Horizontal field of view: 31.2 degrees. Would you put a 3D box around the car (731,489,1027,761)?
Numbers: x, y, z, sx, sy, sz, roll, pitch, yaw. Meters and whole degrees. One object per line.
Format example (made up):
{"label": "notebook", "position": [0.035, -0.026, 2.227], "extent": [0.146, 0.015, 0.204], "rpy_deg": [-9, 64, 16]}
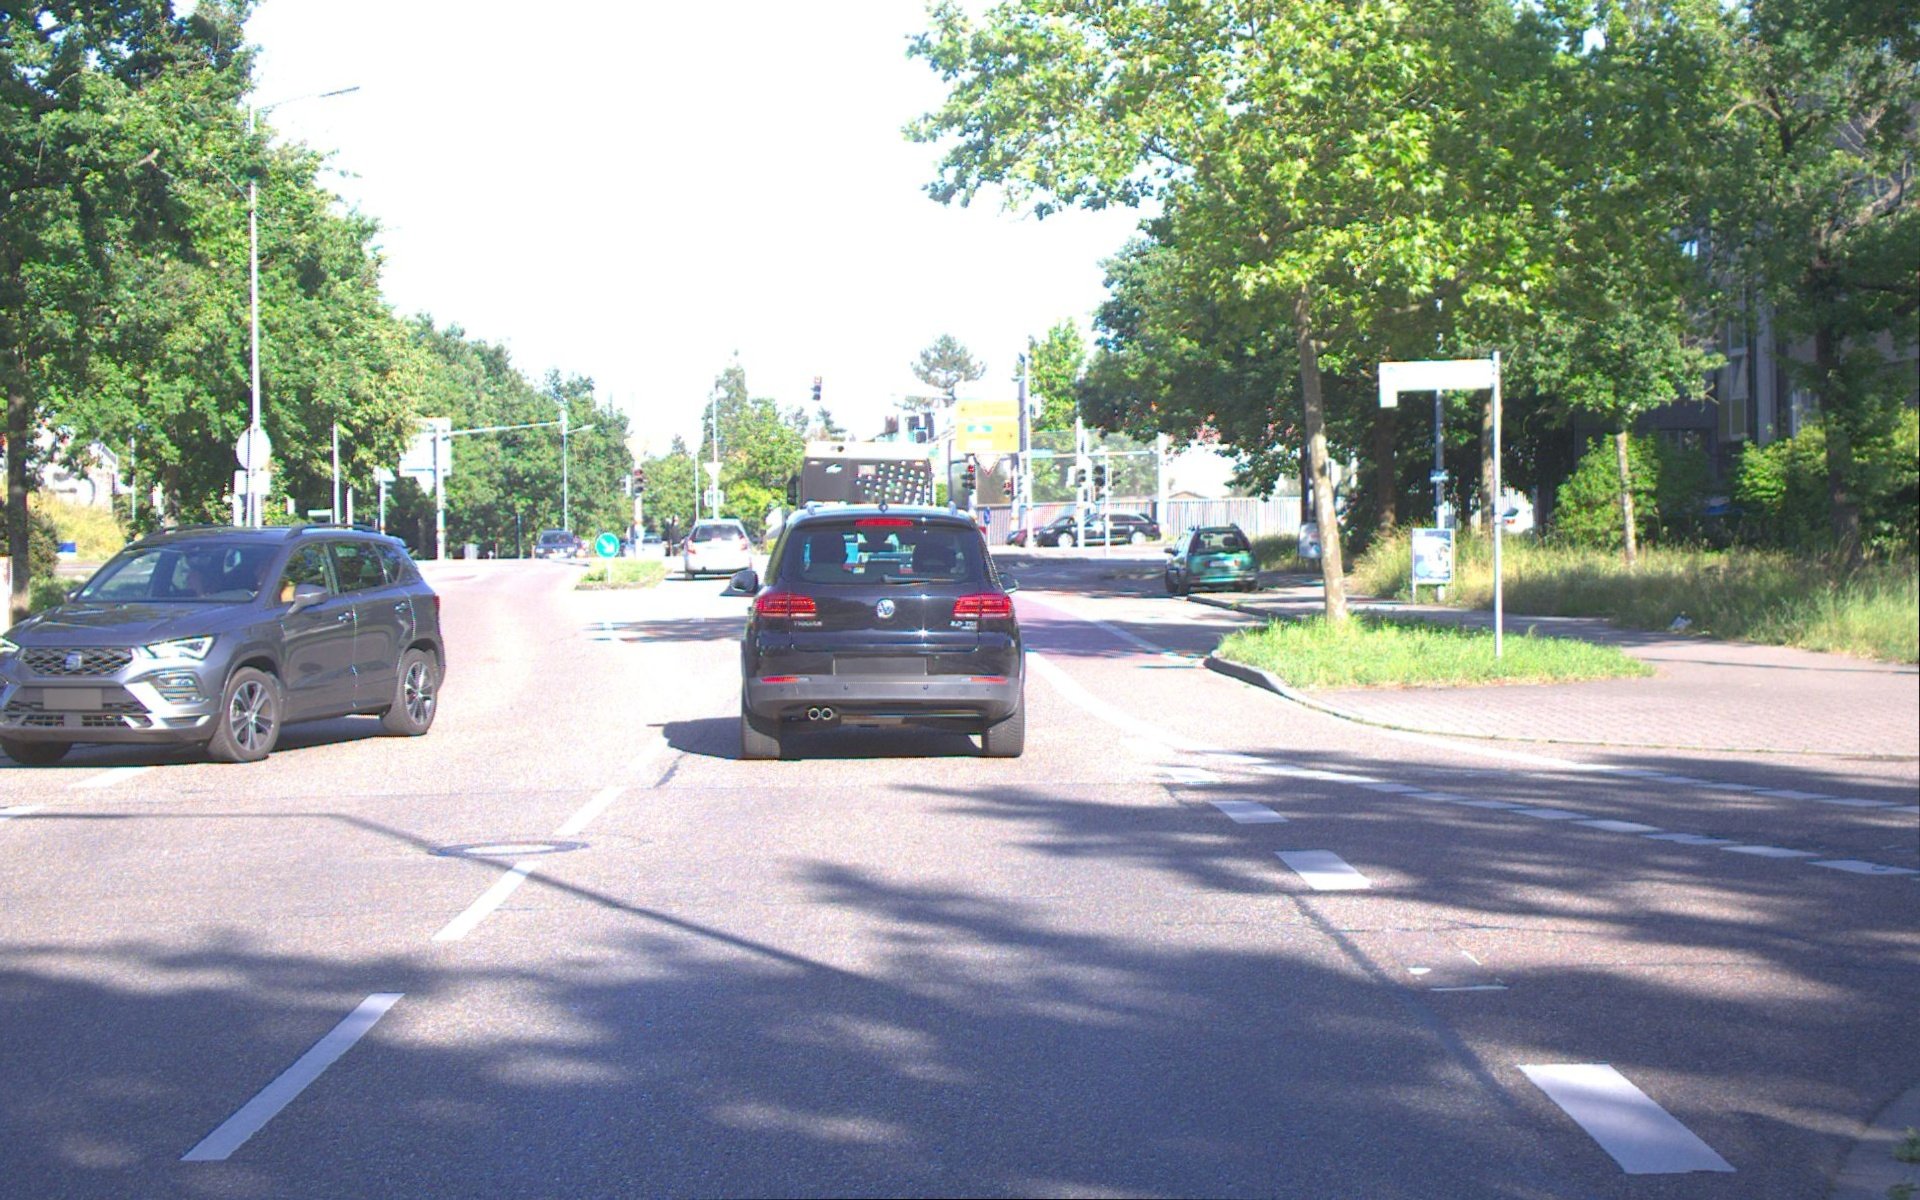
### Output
{"label": "car", "position": [-0.521, 0.137, 23.344], "extent": [1.821, 1.668, 4.003], "rpy_deg": [-1, 0, 0]}

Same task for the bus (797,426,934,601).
{"label": "bus", "position": [-2.098, -1.815, 71.936], "extent": [2.596, 3.323, 11.985], "rpy_deg": [1, 1, -3]}

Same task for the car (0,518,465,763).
{"label": "car", "position": [-5.187, 0.242, 24.542], "extent": [1.755, 1.590, 4.296], "rpy_deg": [0, 1, 14]}

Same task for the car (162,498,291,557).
{"label": "car", "position": [-24.156, -2.380, 113.320], "extent": [3.986, 1.873, 2.000], "rpy_deg": [1, 0, -7]}

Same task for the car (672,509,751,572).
{"label": "car", "position": [-6.592, -1.550, 90.945], "extent": [1.753, 1.615, 4.034], "rpy_deg": [-1, 1, -8]}

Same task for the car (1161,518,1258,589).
{"label": "car", "position": [5.257, -0.990, 72.794], "extent": [1.592, 1.424, 4.204], "rpy_deg": [-2, 1, -2]}

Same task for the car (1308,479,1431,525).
{"label": "car", "position": [15.662, -3.730, 131.526], "extent": [4.382, 1.677, 1.712], "rpy_deg": [1, 0, -7]}

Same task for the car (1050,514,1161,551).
{"label": "car", "position": [5.517, -2.535, 130.252], "extent": [3.891, 1.335, 1.683], "rpy_deg": [1, 0, -11]}

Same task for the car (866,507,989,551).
{"label": "car", "position": [-0.963, -2.144, 103.443], "extent": [3.523, 1.297, 1.574], "rpy_deg": [0, 1, 6]}
